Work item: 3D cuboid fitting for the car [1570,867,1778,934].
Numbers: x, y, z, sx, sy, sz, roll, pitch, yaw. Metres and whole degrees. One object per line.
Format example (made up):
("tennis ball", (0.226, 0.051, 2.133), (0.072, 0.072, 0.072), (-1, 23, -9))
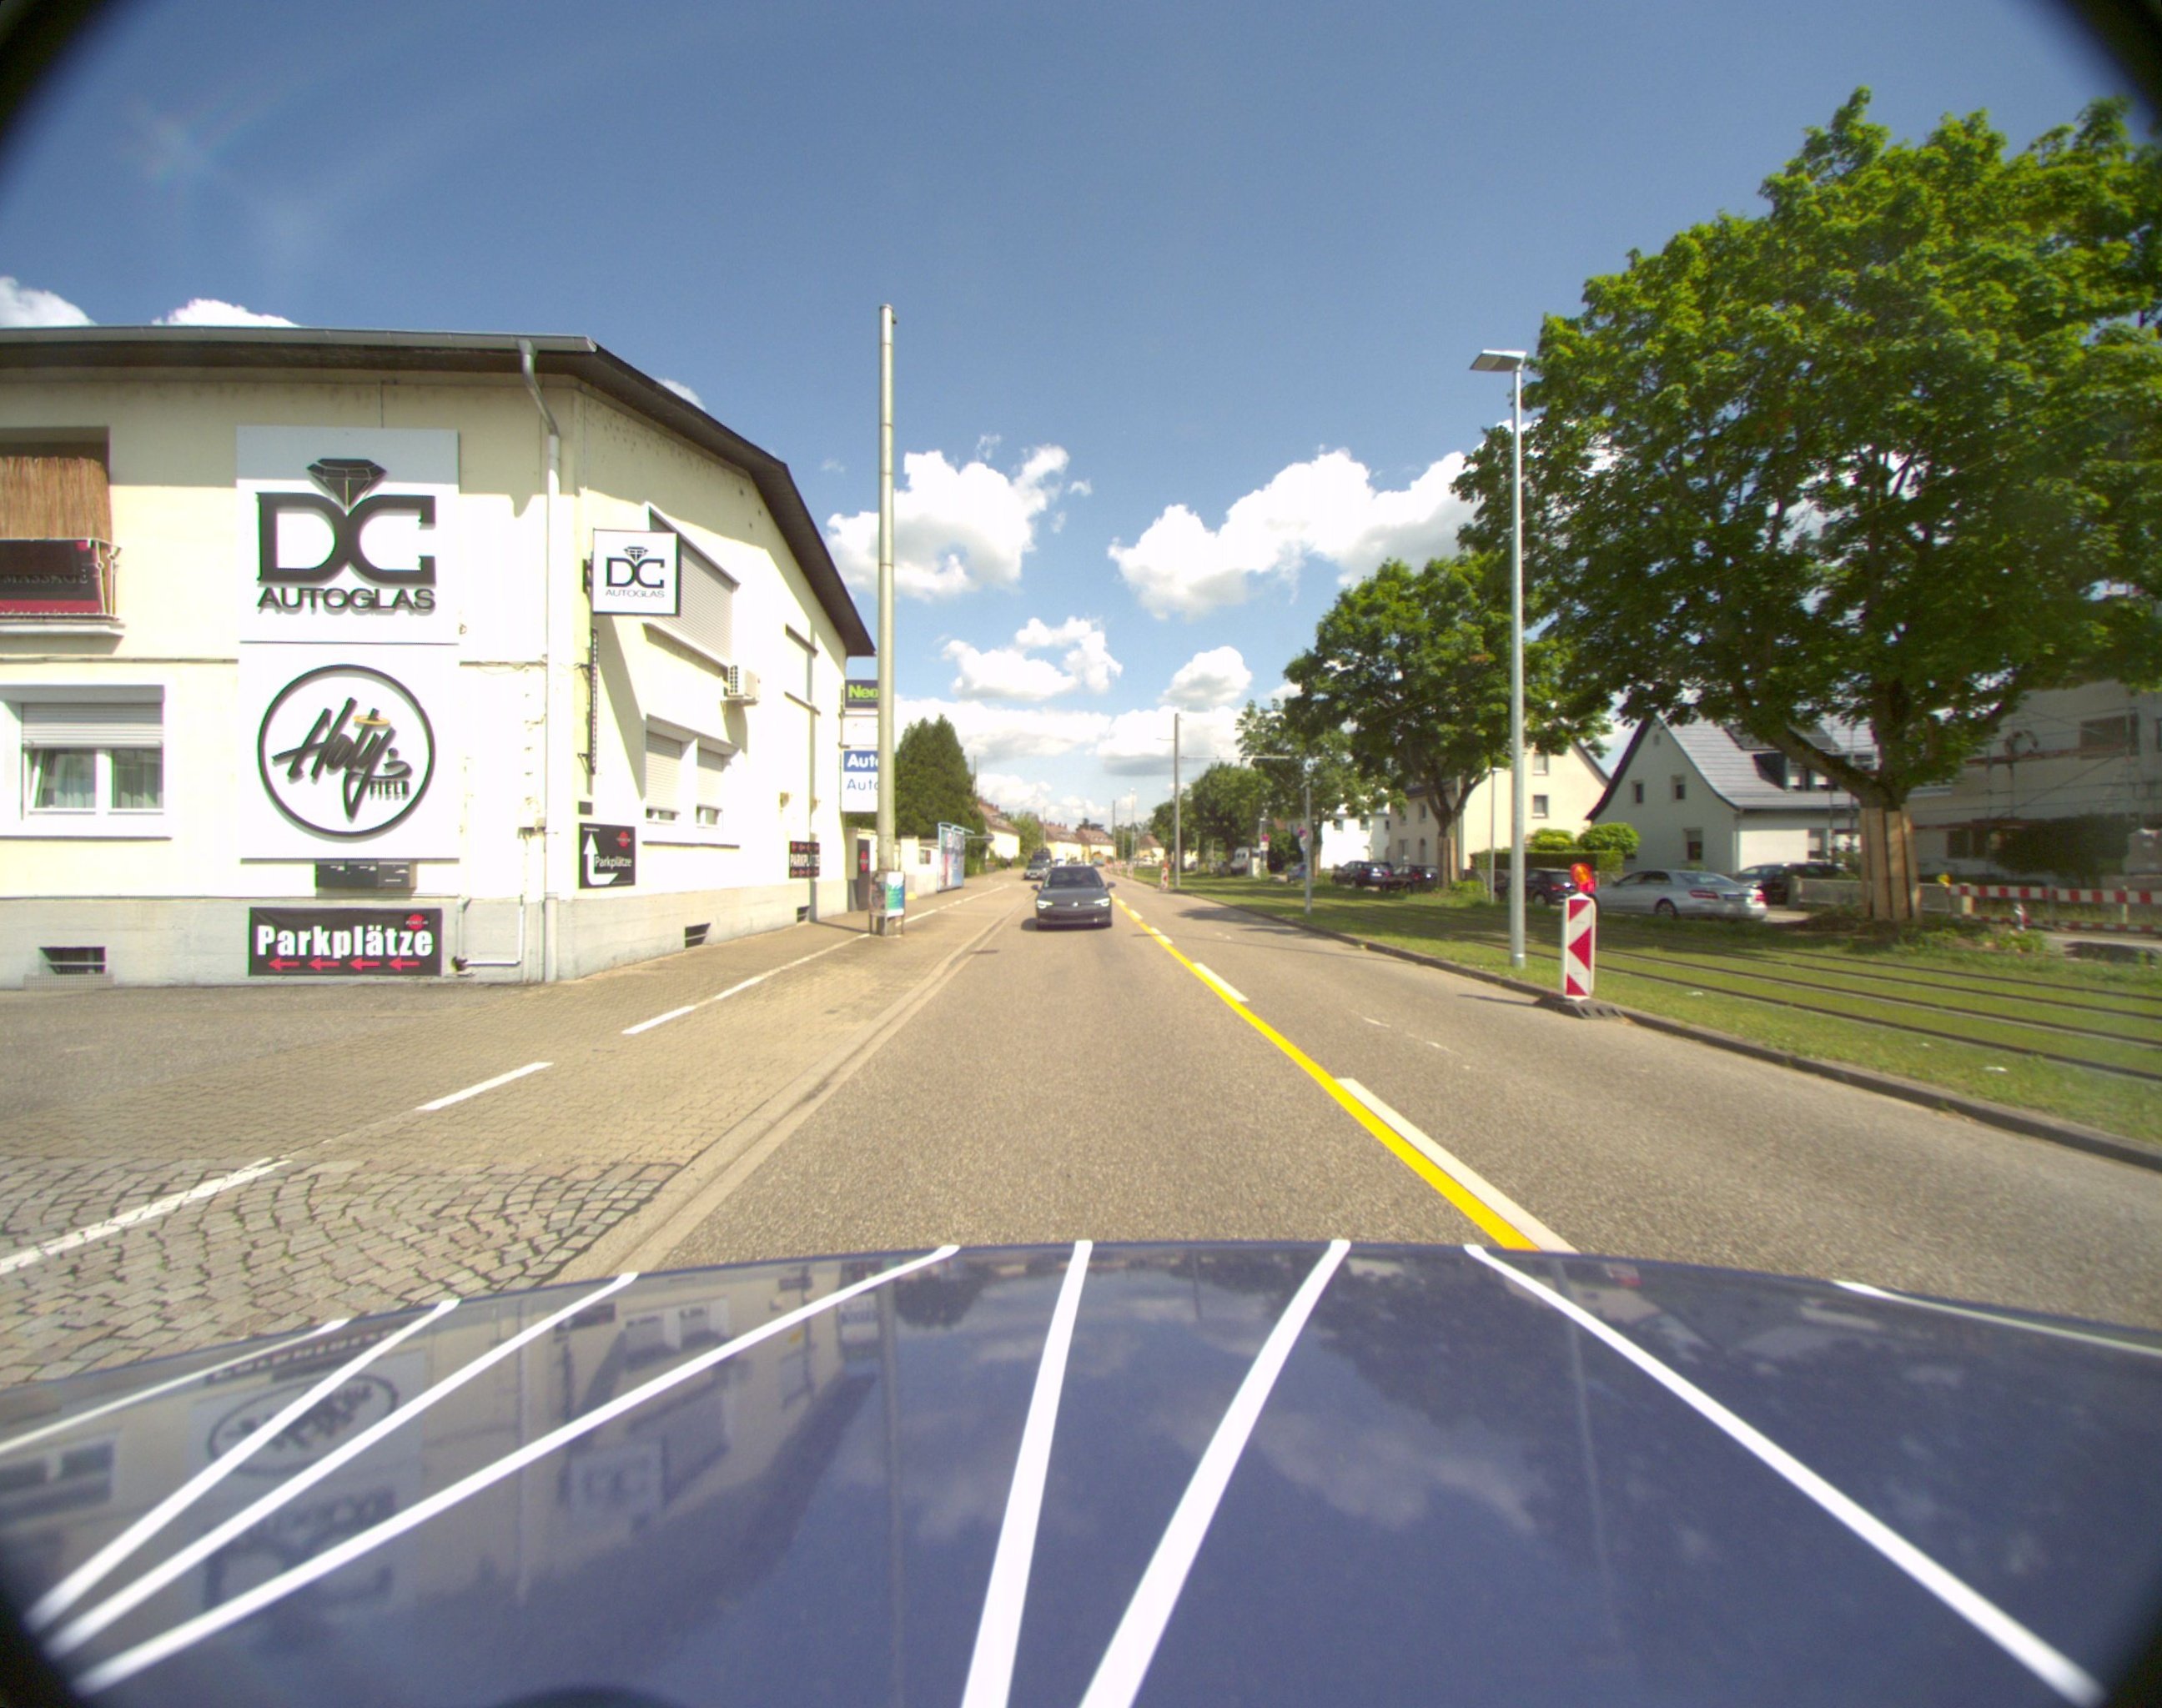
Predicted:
("car", (15.854, 1.164, 20.755), (1.809, 1.474, 4.939), (1, 0, 0))

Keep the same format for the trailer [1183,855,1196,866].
("trailer", (14.827, 0.857, 103.976), (1.303, 1.510, 2.281), (1, 0, -1))

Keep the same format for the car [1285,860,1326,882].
("car", (15.407, 1.139, 52.317), (1.758, 1.427, 3.889), (1, 1, 2))

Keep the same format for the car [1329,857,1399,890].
("car", (15.664, 1.060, 42.343), (1.999, 1.681, 4.390), (1, 1, -4))

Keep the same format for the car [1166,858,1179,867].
("car", (16.585, 1.500, 138.197), (1.998, 1.530, 4.323), (1, 1, 2))

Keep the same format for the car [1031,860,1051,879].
("car", (-3.546, 1.326, 67.044), (1.696, 1.507, 4.354), (1, 1, -3))

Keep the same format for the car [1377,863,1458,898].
("car", (15.986, 1.214, 36.323), (1.999, 1.430, 3.999), (2, 0, -1))

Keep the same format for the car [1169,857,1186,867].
("car", (15.169, 1.264, 119.651), (1.998, 1.530, 4.322), (1, 1, 0))

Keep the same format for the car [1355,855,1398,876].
("car", (24.012, 0.935, 61.850), (1.907, 1.568, 3.999), (1, 1, 0))

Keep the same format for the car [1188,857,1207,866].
("car", (15.063, 1.019, 98.506), (1.786, 1.087, 3.835), (1, 0, -1))

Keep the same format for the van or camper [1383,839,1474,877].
("van or camper", (30.090, 0.330, 65.998), (6.745, 3.203, 2.634), (0, 0, -1))

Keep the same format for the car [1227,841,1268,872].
("car", (15.255, 0.234, 70.005), (1.999, 2.714, 6.461), (1, 0, -2))

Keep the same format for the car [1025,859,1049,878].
("car", (-3.599, 1.186, 62.345), (1.655, 1.423, 4.096), (1, 1, 0))

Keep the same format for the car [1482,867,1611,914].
("car", (15.852, 1.200, 26.164), (1.999, 1.310, 3.852), (3, 0, -1))

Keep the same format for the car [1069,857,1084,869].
("car", (-0.571, 1.186, 101.496), (1.998, 1.566, 4.000), (0, 0, 0))

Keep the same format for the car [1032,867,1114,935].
("car", (-0.103, 1.078, 18.931), (1.786, 1.412, 4.290), (-1, 0, 2))

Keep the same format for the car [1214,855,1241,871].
("car", (15.229, 0.930, 79.202), (1.999, 1.497, 4.486), (1, 0, 0))

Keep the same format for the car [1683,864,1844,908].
("car", (24.310, 1.111, 27.178), (3.997, 1.393, 1.982), (-1, 1, 0))

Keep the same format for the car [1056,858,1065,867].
("car", (-3.317, 1.391, 122.723), (1.358, 1.299, 3.543), (1, 0, 0))

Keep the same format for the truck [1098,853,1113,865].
("truck", (6.275, 1.158, 192.269), (2.530, 2.931, 7.868), (1, 1, 12))

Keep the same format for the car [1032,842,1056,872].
("car", (-3.534, 0.304, 72.939), (2.001, 2.744, 4.878), (1, 0, 0))

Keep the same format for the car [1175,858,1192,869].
("car", (15.378, 1.422, 114.302), (1.910, 1.568, 4.101), (3, -1, 1))

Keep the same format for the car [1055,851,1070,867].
("car", (-3.118, 0.798, 127.444), (1.924, 2.522, 5.346), (1, 0, 4))
